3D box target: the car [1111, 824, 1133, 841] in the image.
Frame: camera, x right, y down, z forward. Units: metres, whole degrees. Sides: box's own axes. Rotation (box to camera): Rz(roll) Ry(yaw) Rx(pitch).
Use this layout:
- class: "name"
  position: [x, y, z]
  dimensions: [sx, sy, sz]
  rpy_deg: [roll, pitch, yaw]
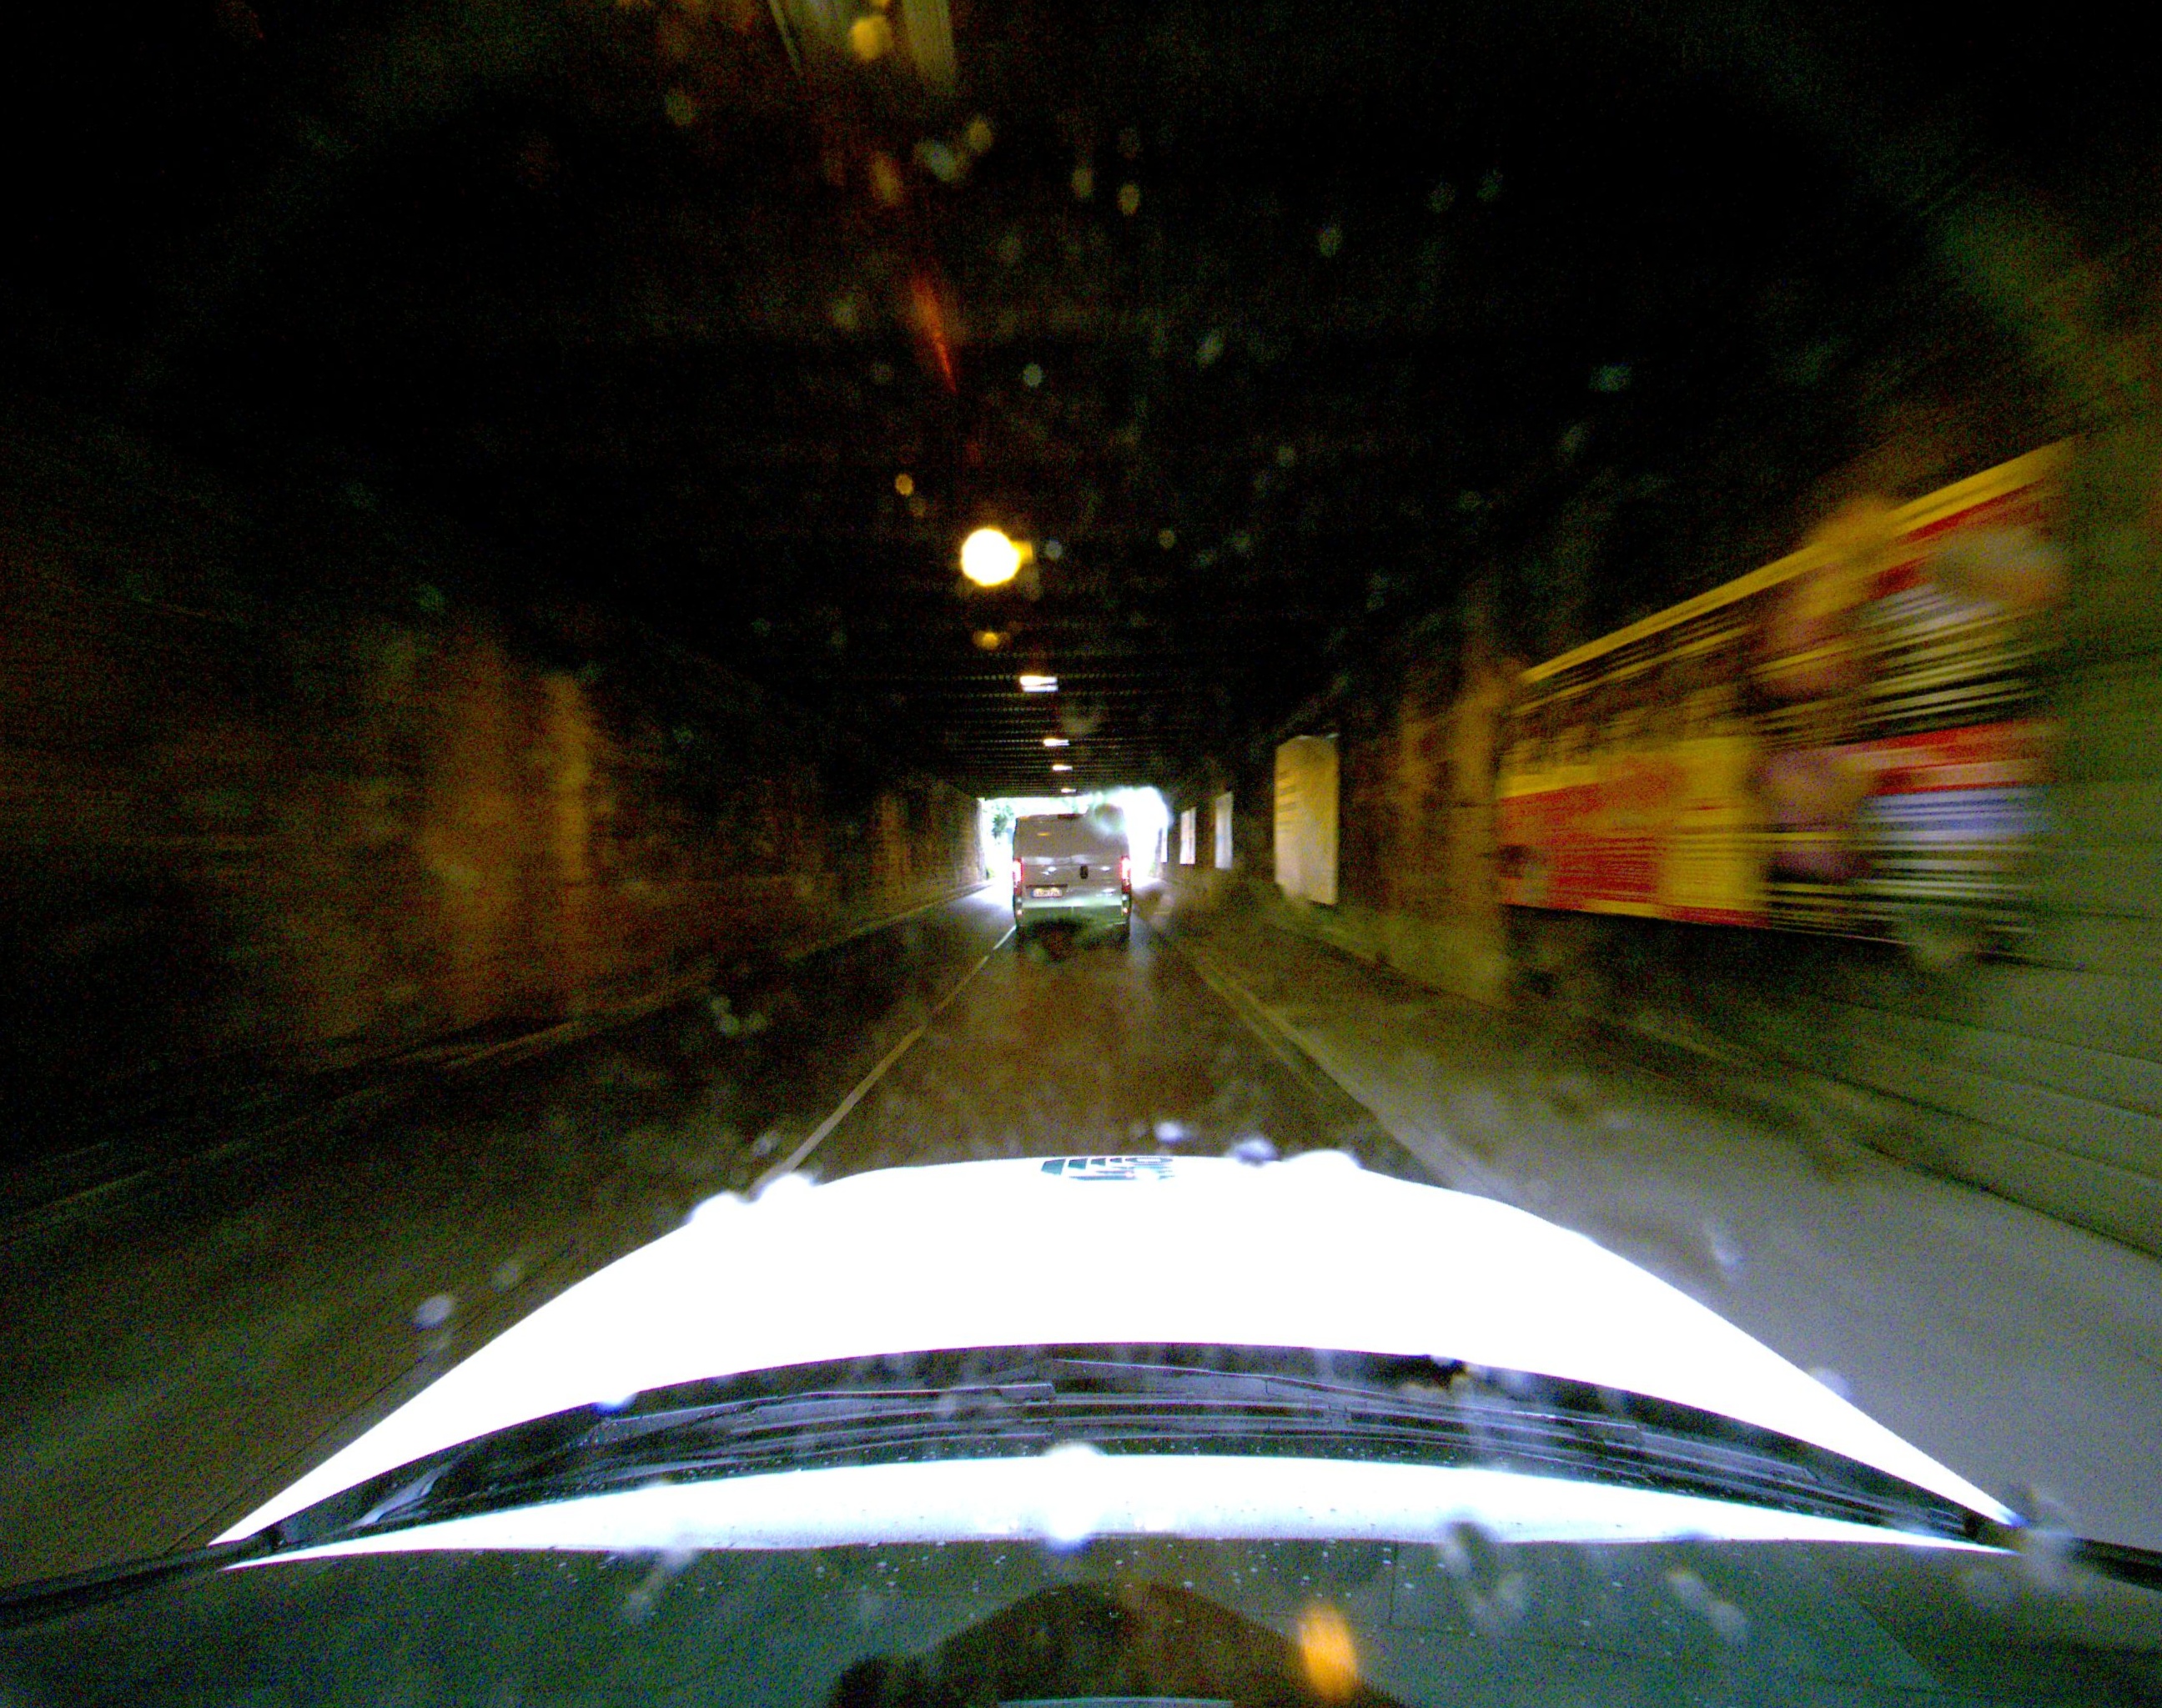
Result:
- class: "car"
  position: [4.958, -2.586, 99.557]
  dimensions: [1.991, 1.947, 3.991]
  rpy_deg: [-2, 0, -6]

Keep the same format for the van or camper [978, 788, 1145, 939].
- class: "van or camper"
  position: [-0.362, 0.214, 15.856]
  dimensions: [2.691, 2.417, 4.900]
  rpy_deg: [-2, -2, -1]

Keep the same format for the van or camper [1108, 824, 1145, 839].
- class: "van or camper"
  position: [6.691, -3.290, 118.775]
  dimensions: [5.282, 2.013, 2.081]
  rpy_deg: [-1, 0, 5]
